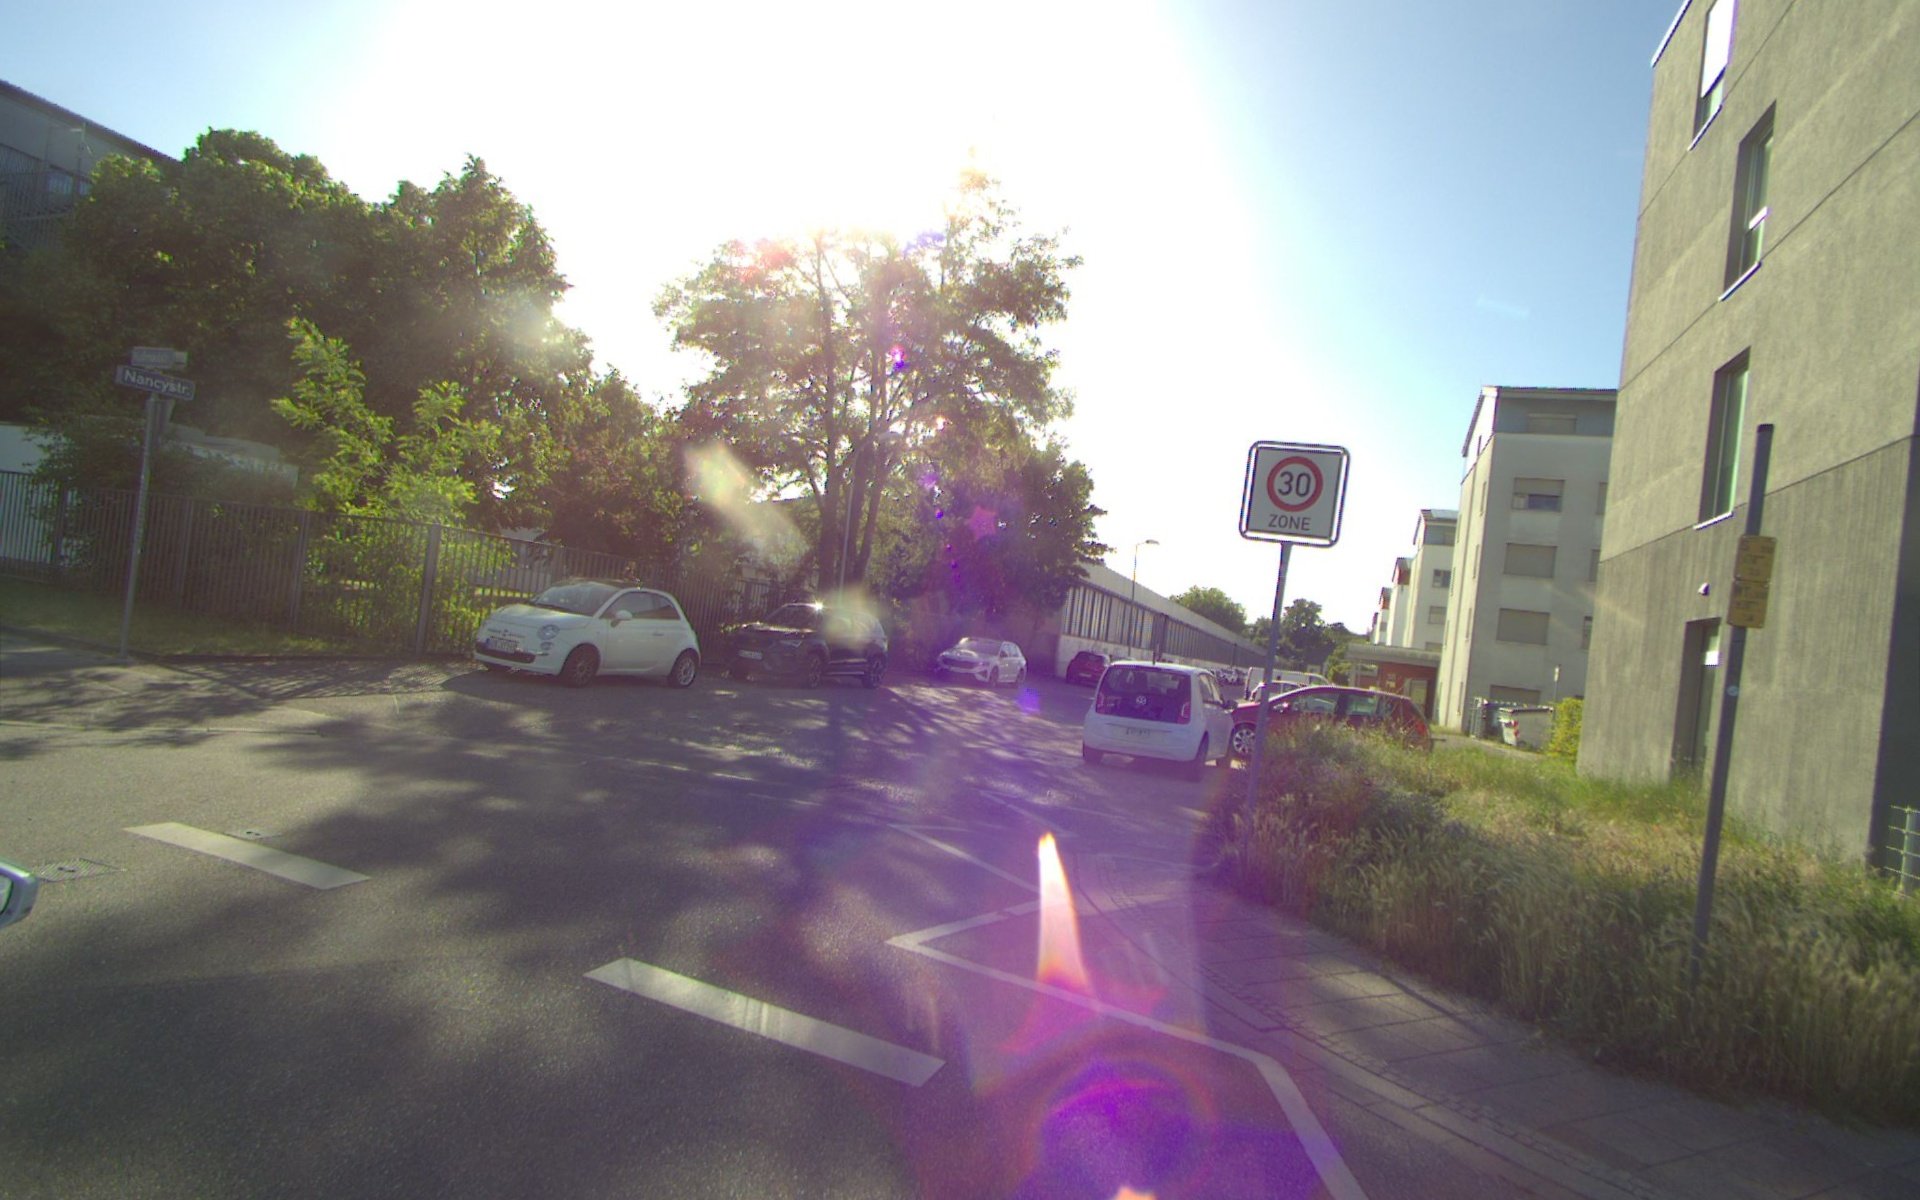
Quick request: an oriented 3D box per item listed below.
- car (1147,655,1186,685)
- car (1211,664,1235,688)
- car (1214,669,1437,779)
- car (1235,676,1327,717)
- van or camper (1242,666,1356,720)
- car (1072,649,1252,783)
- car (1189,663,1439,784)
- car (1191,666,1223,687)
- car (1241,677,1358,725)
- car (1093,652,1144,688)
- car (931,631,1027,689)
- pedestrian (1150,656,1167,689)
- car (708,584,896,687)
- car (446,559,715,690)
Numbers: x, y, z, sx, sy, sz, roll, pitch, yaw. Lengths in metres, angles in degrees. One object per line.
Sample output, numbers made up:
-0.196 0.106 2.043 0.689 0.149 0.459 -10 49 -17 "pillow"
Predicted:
13.372 4.530 65.009 1.680 1.688 4.002 7 -2 21 "car"
26.015 7.535 99.495 1.962 2.037 4.004 7 -2 17 "car"
7.324 2.436 20.361 3.926 1.538 1.699 7 -1 20 "car"
15.362 4.597 48.142 4.011 1.365 1.764 7 -1 20 "car"
17.234 4.706 51.200 5.199 1.981 2.001 7 -1 22 "van or camper"
2.999 1.600 14.439 1.684 1.475 3.337 7 -2 25 "car"
6.307 2.151 18.167 3.926 1.488 1.699 7 -1 20 "car"
20.680 6.412 84.141 1.951 1.453 4.002 7 -2 21 "car"
14.514 4.310 43.147 4.516 1.365 2.001 7 -1 20 "car"
7.783 3.423 49.043 1.679 1.453 4.003 7 -2 18 "car"
0.664 1.856 30.854 1.679 1.453 4.003 7 -2 18 "car"
10.506 3.835 53.262 0.656 1.681 0.487 7 -1 20 "pedestrian"
-3.003 0.787 20.062 1.723 1.656 4.168 7 -2 21 "car"
-5.322 0.431 14.615 1.571 1.503 3.560 7 -2 21 "car"
